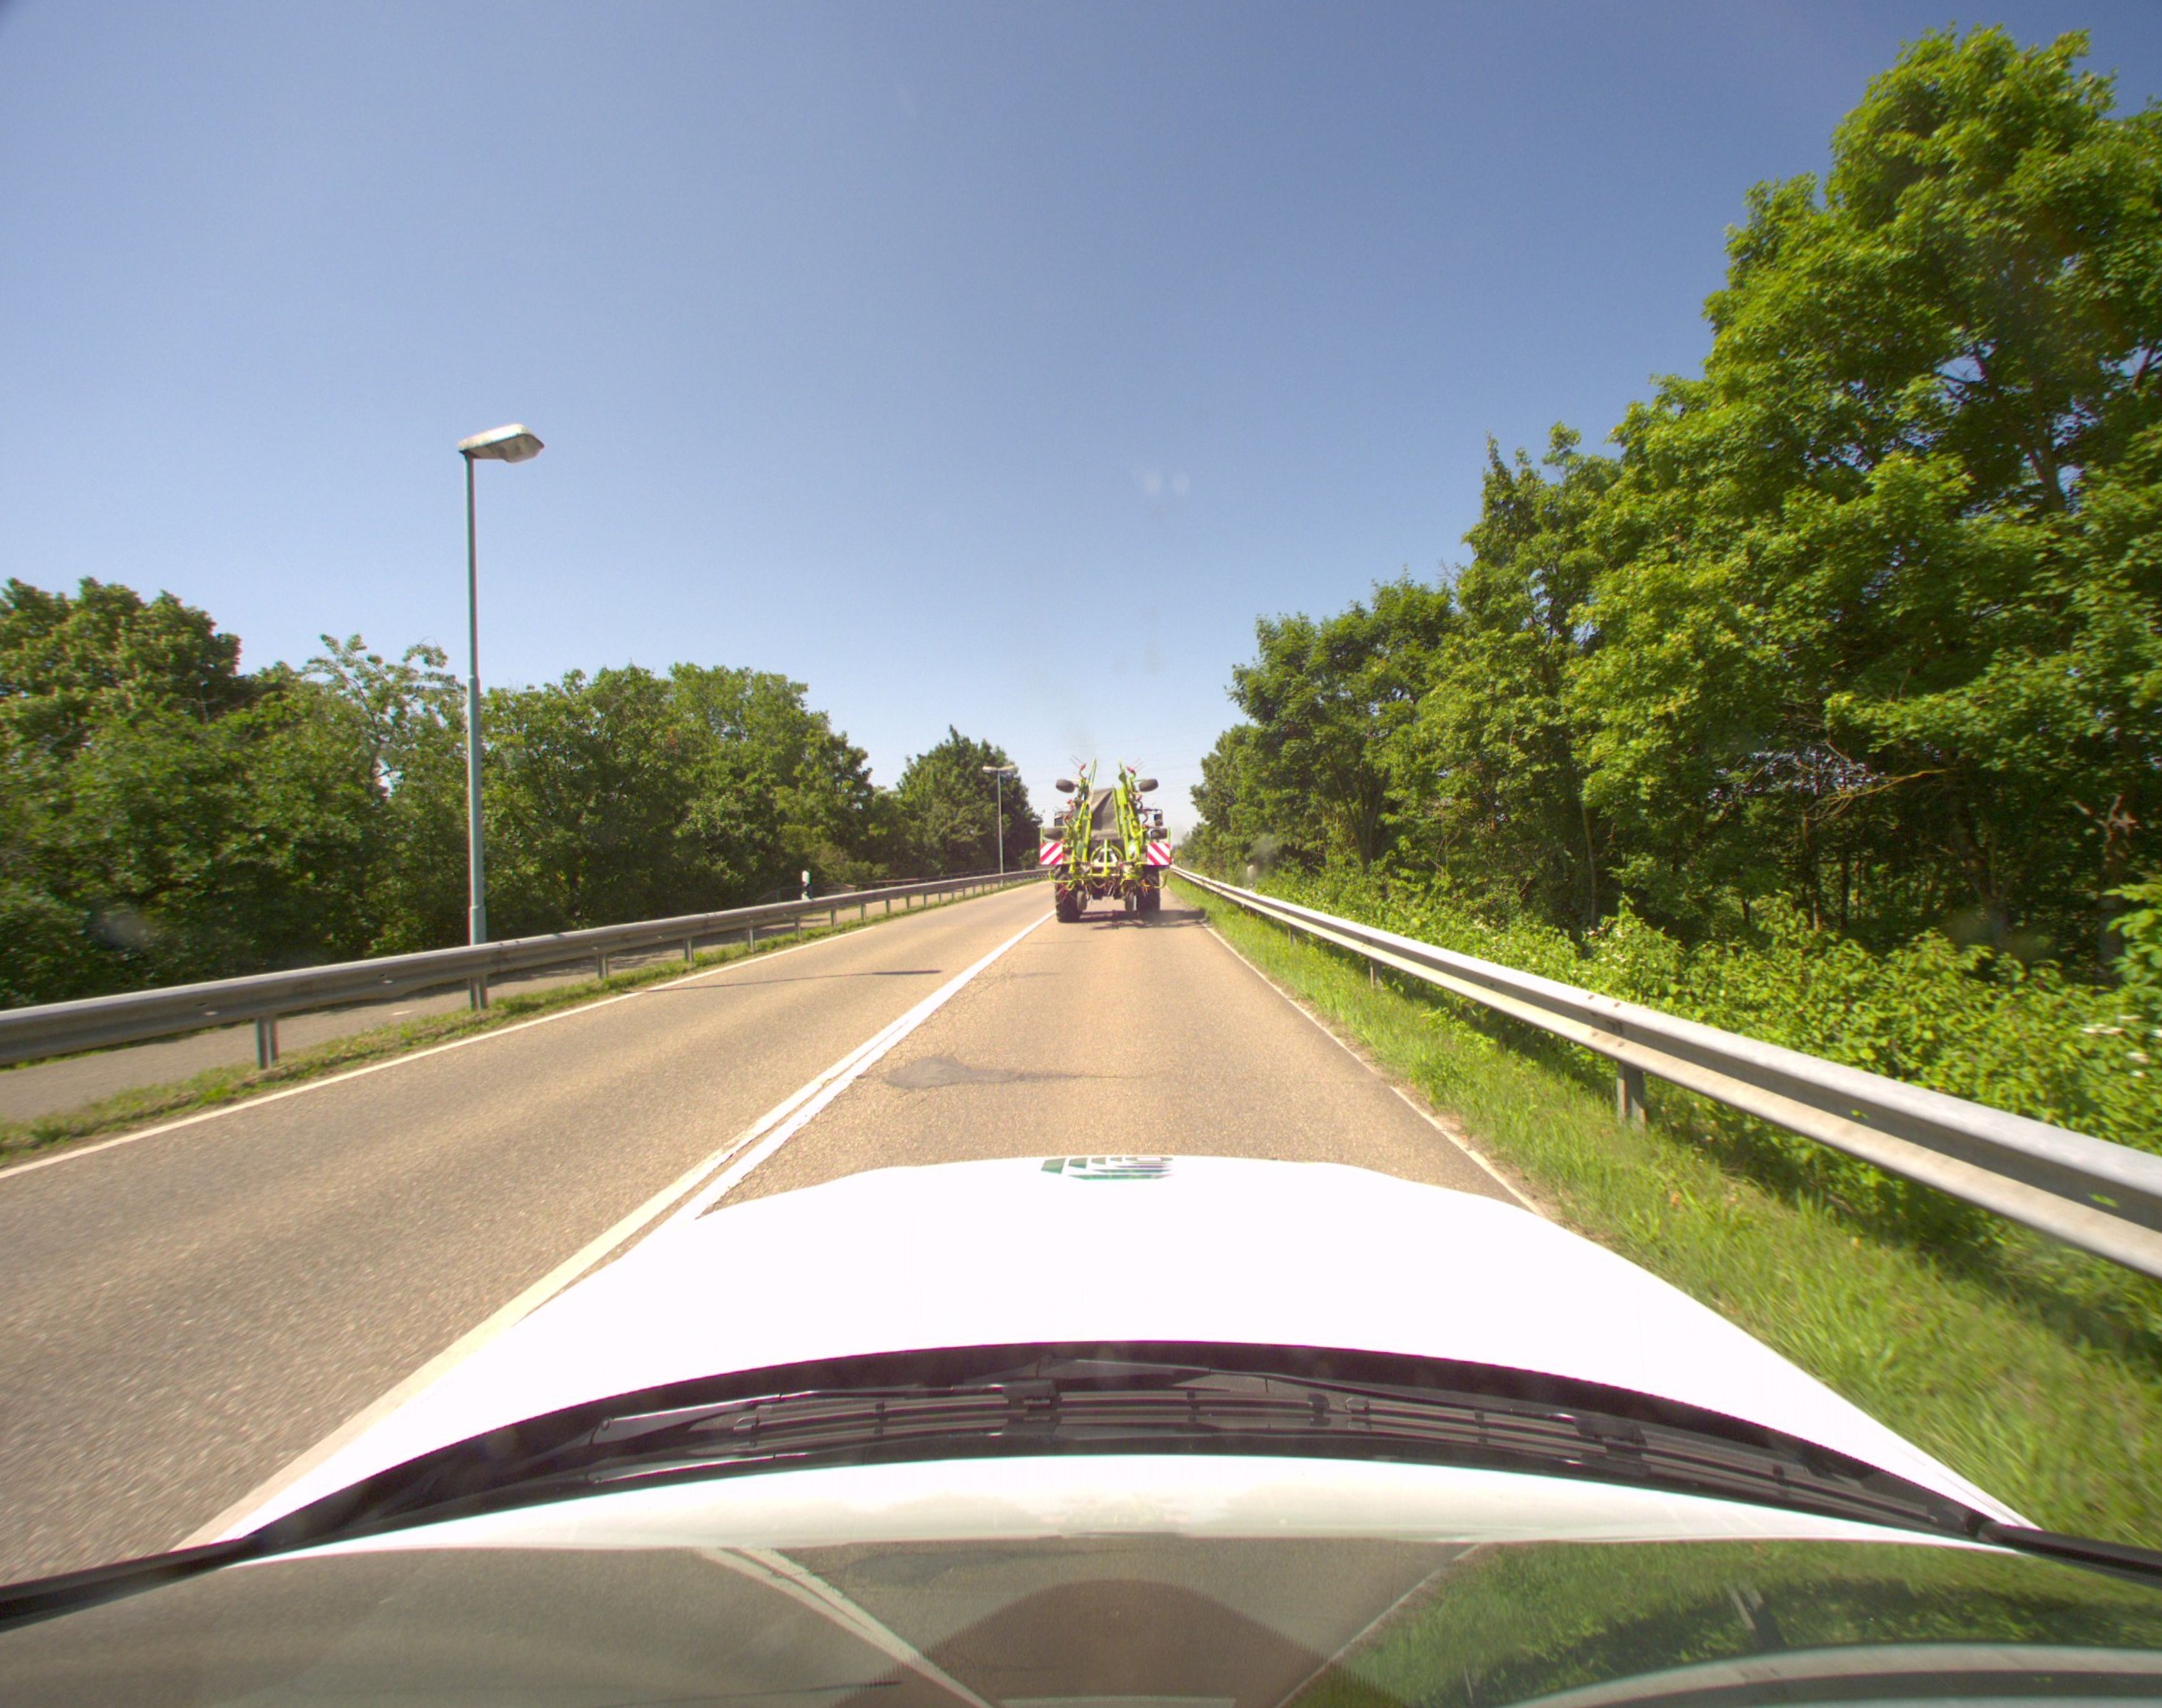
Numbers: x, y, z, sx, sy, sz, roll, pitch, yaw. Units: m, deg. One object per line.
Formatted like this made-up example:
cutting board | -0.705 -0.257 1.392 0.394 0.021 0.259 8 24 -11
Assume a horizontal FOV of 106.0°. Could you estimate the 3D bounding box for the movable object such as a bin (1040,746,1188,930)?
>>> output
movable object such as a bin | 0.625 -0.310 18.302 2.746 3.444 5.669 -1 0 0
